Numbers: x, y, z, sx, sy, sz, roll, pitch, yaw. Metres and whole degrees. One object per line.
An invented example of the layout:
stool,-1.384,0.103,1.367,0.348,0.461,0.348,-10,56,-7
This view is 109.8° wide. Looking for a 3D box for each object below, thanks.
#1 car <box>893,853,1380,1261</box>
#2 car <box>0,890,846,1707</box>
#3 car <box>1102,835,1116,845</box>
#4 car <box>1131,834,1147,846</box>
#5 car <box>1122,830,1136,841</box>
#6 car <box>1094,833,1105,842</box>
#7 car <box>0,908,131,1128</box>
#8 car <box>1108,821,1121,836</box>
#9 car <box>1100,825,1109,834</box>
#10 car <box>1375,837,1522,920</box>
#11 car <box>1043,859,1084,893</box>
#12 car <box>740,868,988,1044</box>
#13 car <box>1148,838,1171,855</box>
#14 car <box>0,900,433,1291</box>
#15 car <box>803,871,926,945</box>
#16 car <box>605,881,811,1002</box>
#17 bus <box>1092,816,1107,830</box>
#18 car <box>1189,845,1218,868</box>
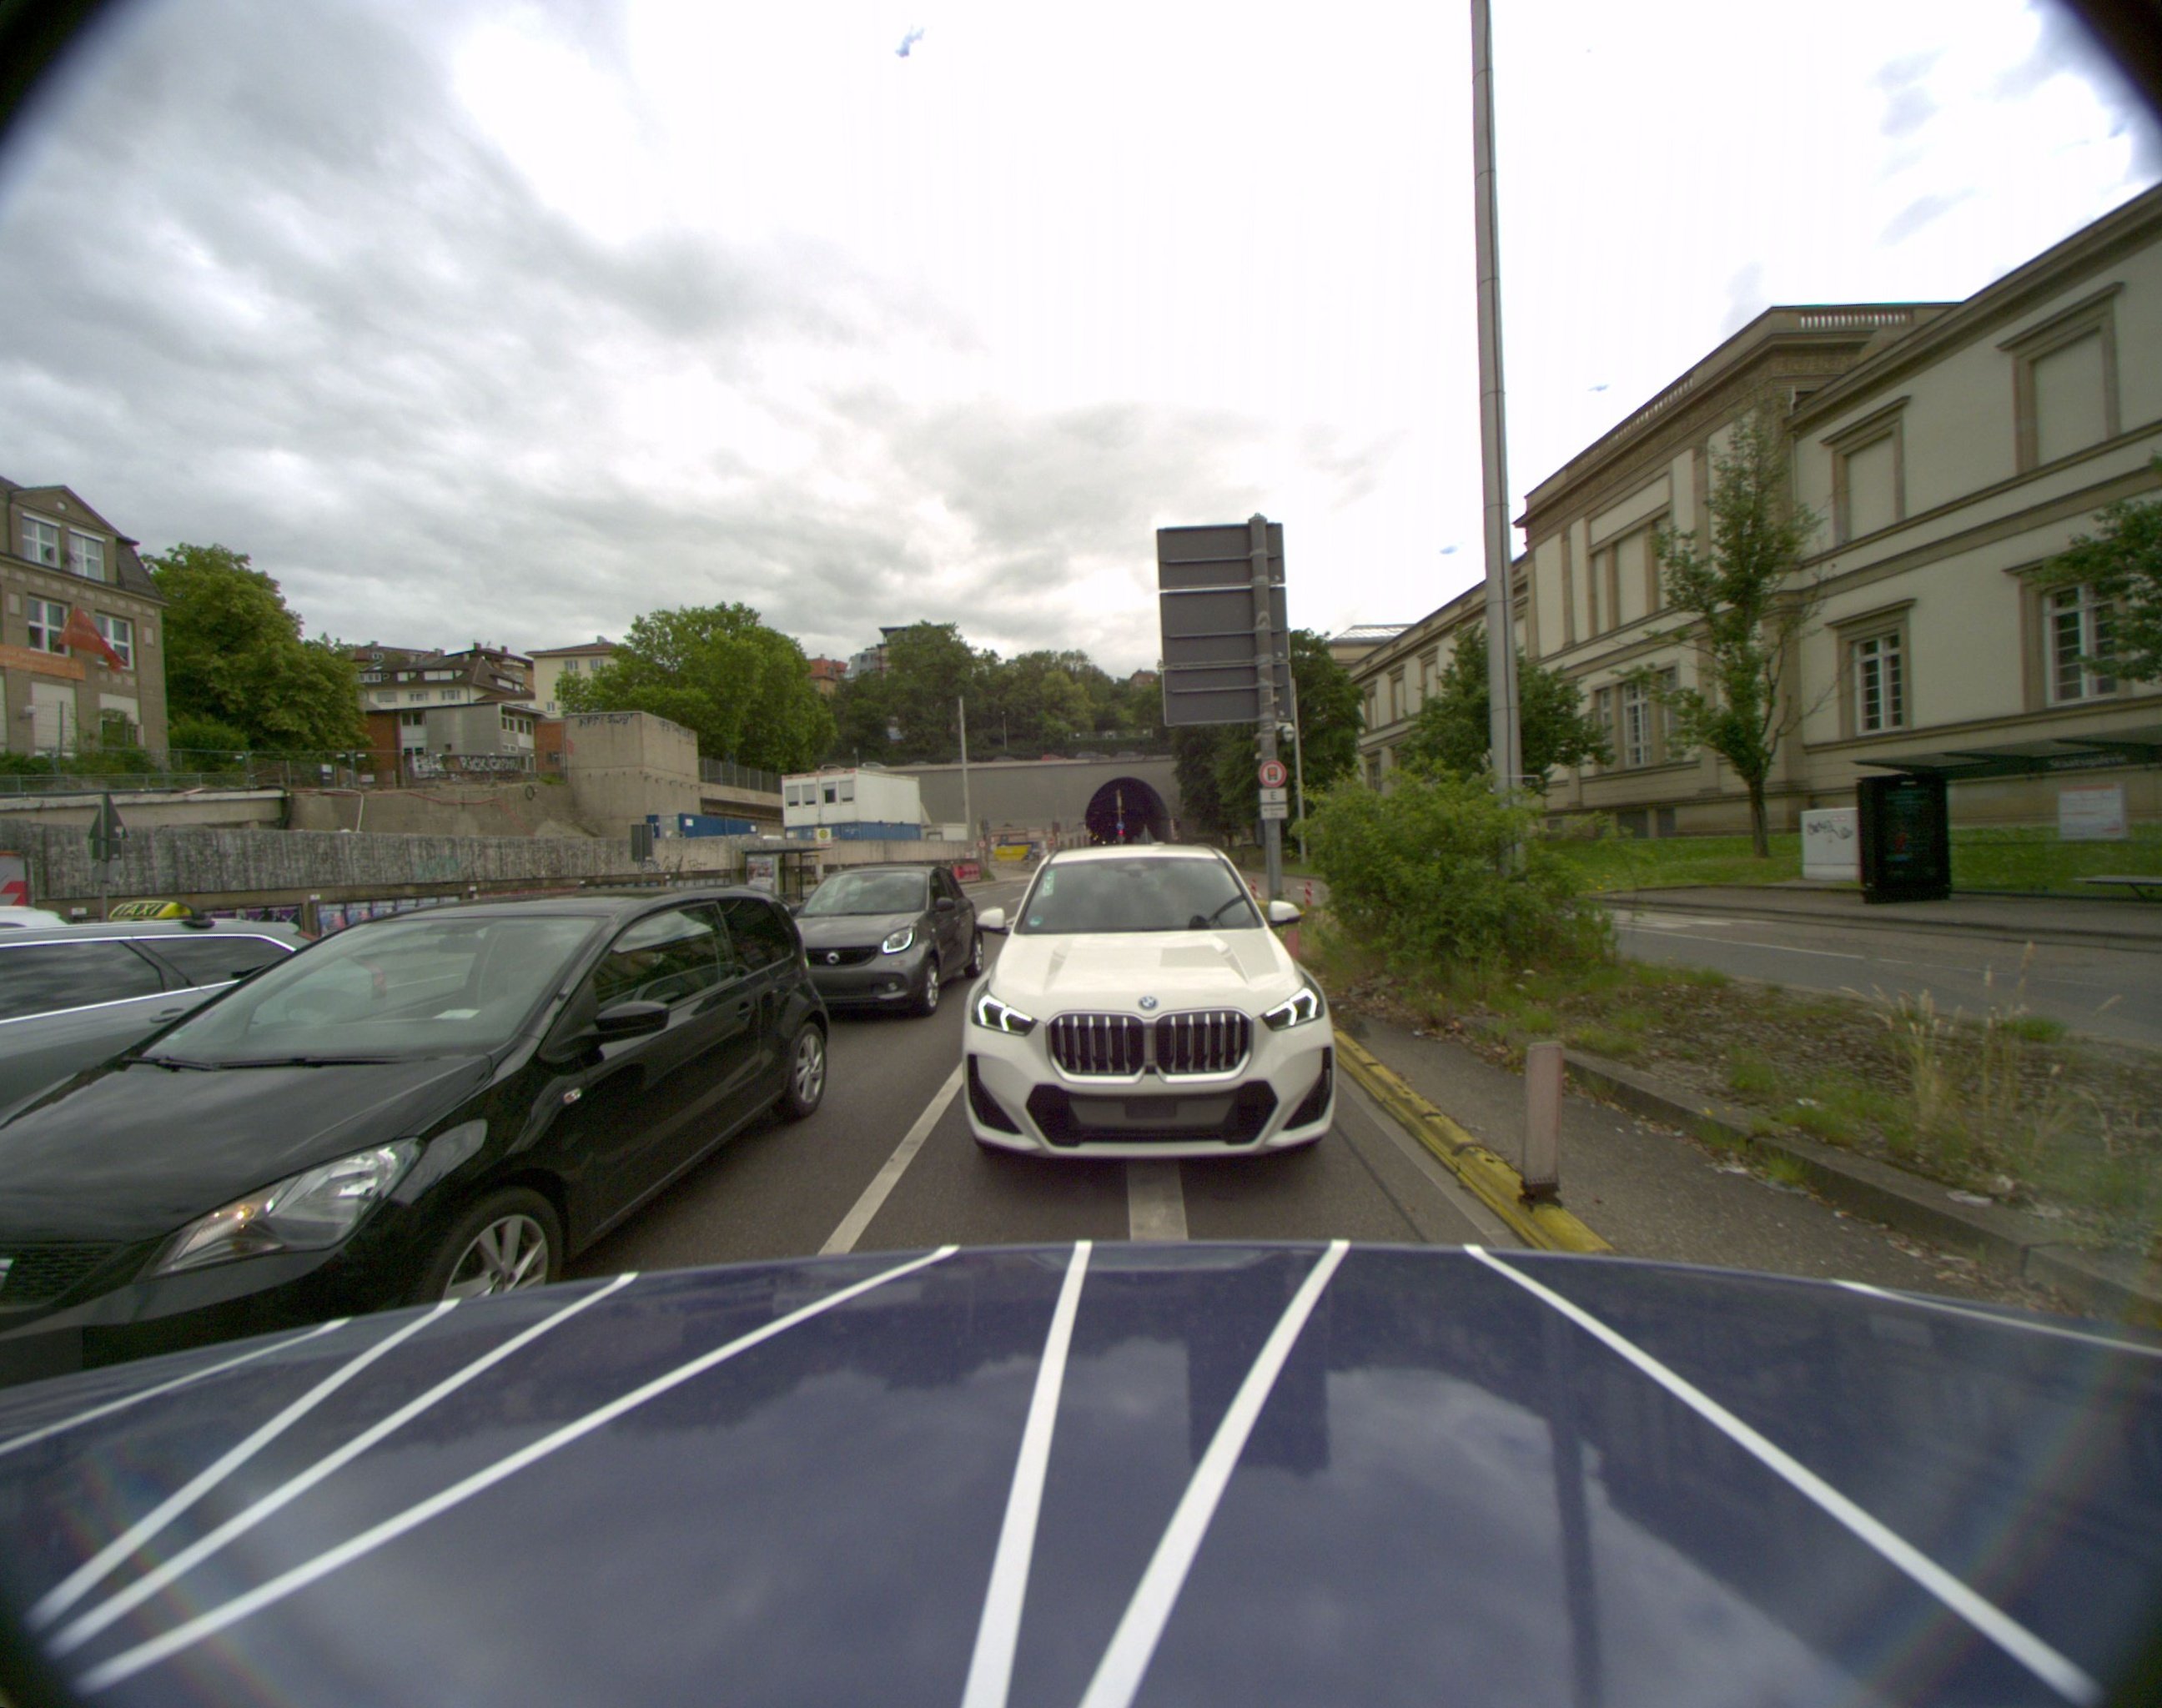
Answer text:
car,0.260,0.854,5.023,1.987,1.615,3.670,-2,1,1
car,-2.574,1.025,3.348,1.829,1.450,3.700,-2,1,1
car,3.824,-1.917,103.780,1.680,1.358,3.806,-2,1,1
car,7.566,-1.773,99.798,1.646,1.469,3.574,-2,0,-2
car,7.422,-2.886,117.871,1.778,1.609,3.802,-2,1,-1
car,2.997,-2.710,122.329,1.680,1.358,3.806,-2,1,1
car,-9.109,1.329,4.450,1.680,1.615,4.209,-2,1,1
car,6.126,-4.674,139.731,2.203,2.493,4.758,-2,1,2
car,5.155,-5.294,166.014,1.946,1.714,4.000,-2,1,4
car,8.765,0.511,18.535,1.836,1.736,4.000,-2,1,4
car,-0.791,1.031,37.082,1.680,1.450,3.807,-2,1,3
car,-2.256,0.988,8.897,1.720,1.535,3.575,-2,0,2
car,8.346,-0.774,81.256,1.875,1.681,4.267,-2,1,0
car,-5.859,1.216,3.309,1.829,1.615,4.808,-2,1,1
car,-4.921,1.175,17.818,1.680,1.358,3.806,-2,1,1
car,-5.398,1.203,11.377,1.665,1.423,2.714,-2,1,1
bus,4.790,-8.017,197.392,3.171,3.129,9.118,-2,1,-1
car,9.109,0.179,56.857,1.902,1.615,4.109,-2,0,6
